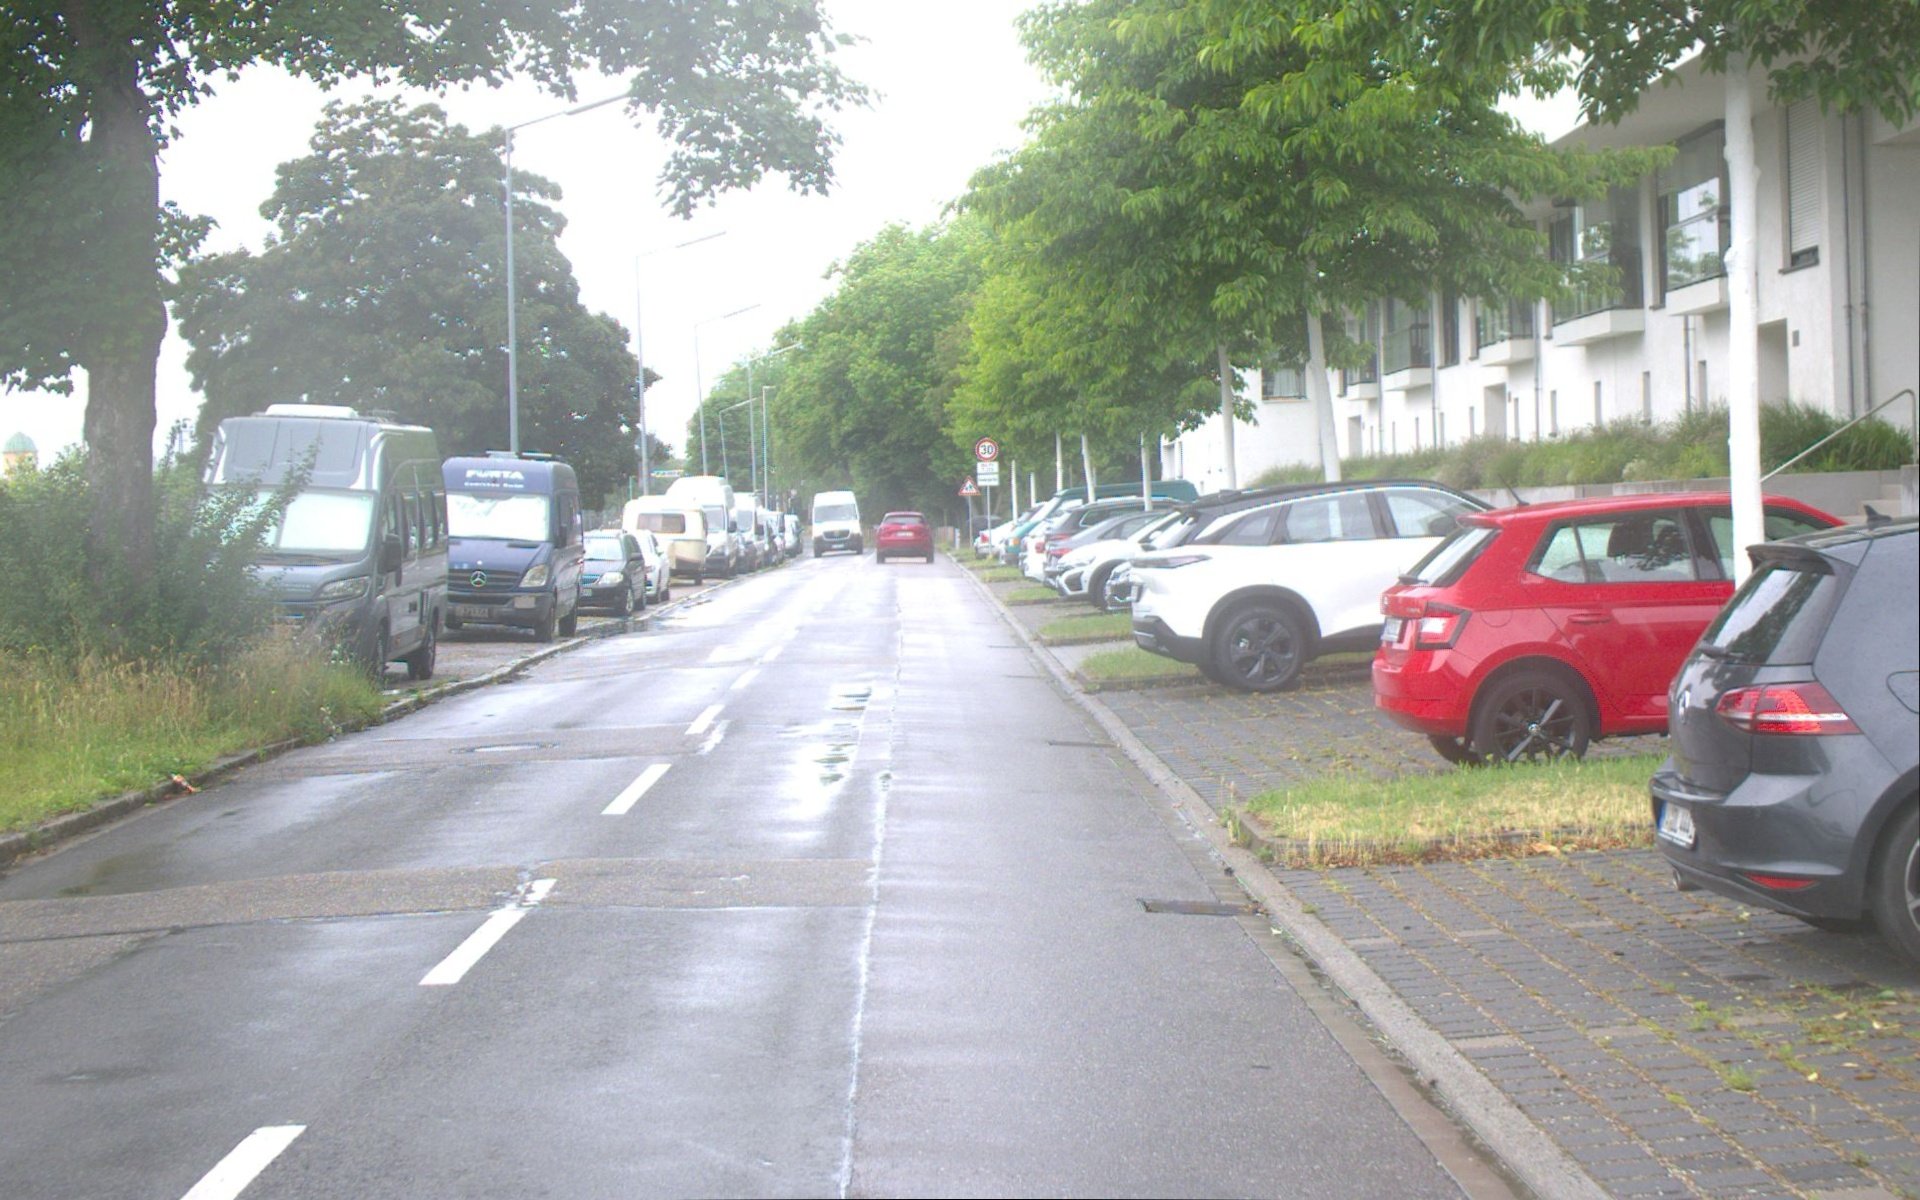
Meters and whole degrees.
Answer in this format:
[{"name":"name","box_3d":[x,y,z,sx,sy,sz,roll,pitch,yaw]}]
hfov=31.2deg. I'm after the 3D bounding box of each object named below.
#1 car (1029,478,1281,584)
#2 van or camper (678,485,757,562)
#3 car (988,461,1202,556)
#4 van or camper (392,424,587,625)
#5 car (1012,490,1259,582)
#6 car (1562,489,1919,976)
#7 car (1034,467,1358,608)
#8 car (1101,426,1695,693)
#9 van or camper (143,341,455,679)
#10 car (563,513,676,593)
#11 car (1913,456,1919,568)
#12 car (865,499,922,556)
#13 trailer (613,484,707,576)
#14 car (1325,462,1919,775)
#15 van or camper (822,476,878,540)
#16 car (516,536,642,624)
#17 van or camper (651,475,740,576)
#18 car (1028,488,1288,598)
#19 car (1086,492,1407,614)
[{"name":"car","box_3d":[3.409,-1.220,60.608,4.161,1.619,1.898,-3,1,-3]},{"name":"van or camper","box_3d":[-7.841,-2.483,111.675,2.189,2.453,6.377,0,1,0]},{"name":"car","box_3d":[3.029,-2.071,77.934,4.617,2.012,1.858,-2,1,-4]},{"name":"van or camper","box_3d":[-6.813,-1.087,50.599,2.094,2.706,7.575,1,1,-2]},{"name":"car","box_3d":[3.190,-1.173,62.927,4.298,1.423,1.637,-3,1,-3]},{"name":"car","box_3d":[4.113,0.370,11.282,3.956,1.469,1.592,0,1,-3]},{"name":"car","box_3d":[3.434,-0.935,50.670,4.476,1.681,1.936,-5,2,-2]},{"name":"car","box_3d":[3.613,-0.351,28.911,4.539,1.679,1.886,-6,1,-3]},{"name":"van or camper","box_3d":[-6.593,-0.882,35.041,2.094,3.083,6.425,1,1,-2]},{"name":"car","box_3d":[-6.828,-0.970,69.289,1.887,1.520,5.110,1,1,-2]},{"name":"car","box_3d":[4.673,0.251,8.676,3.987,1.550,1.635,-4,1,0]},{"name":"car","box_3d":[-2.130,-2.363,110.894,1.756,1.700,4.001,-2,2,-1]},{"name":"trailer","box_3d":[-7.391,-1.748,85.153,2.058,2.210,5.795,0,1,-2]},{"name":"car","box_3d":[4.137,0.056,18.734,3.987,1.446,1.821,-4,0,-1]},{"name":"van or camper","box_3d":[-4.503,-3.792,142.161,1.993,2.488,7.179,-2,1,0]},{"name":"car","box_3d":[-6.876,-0.394,62.444,1.774,1.497,4.828,1,1,0]},{"name":"van or camper","box_3d":[-7.452,-2.107,97.537,1.993,2.752,7.899,0,1,0]},{"name":"car","box_3d":[3.163,-0.931,55.424,3.987,1.504,1.684,-3,2,-1]},{"name":"car","box_3d":[3.785,-0.644,45.837,3.986,1.490,1.937,-2,2,-4]}]
